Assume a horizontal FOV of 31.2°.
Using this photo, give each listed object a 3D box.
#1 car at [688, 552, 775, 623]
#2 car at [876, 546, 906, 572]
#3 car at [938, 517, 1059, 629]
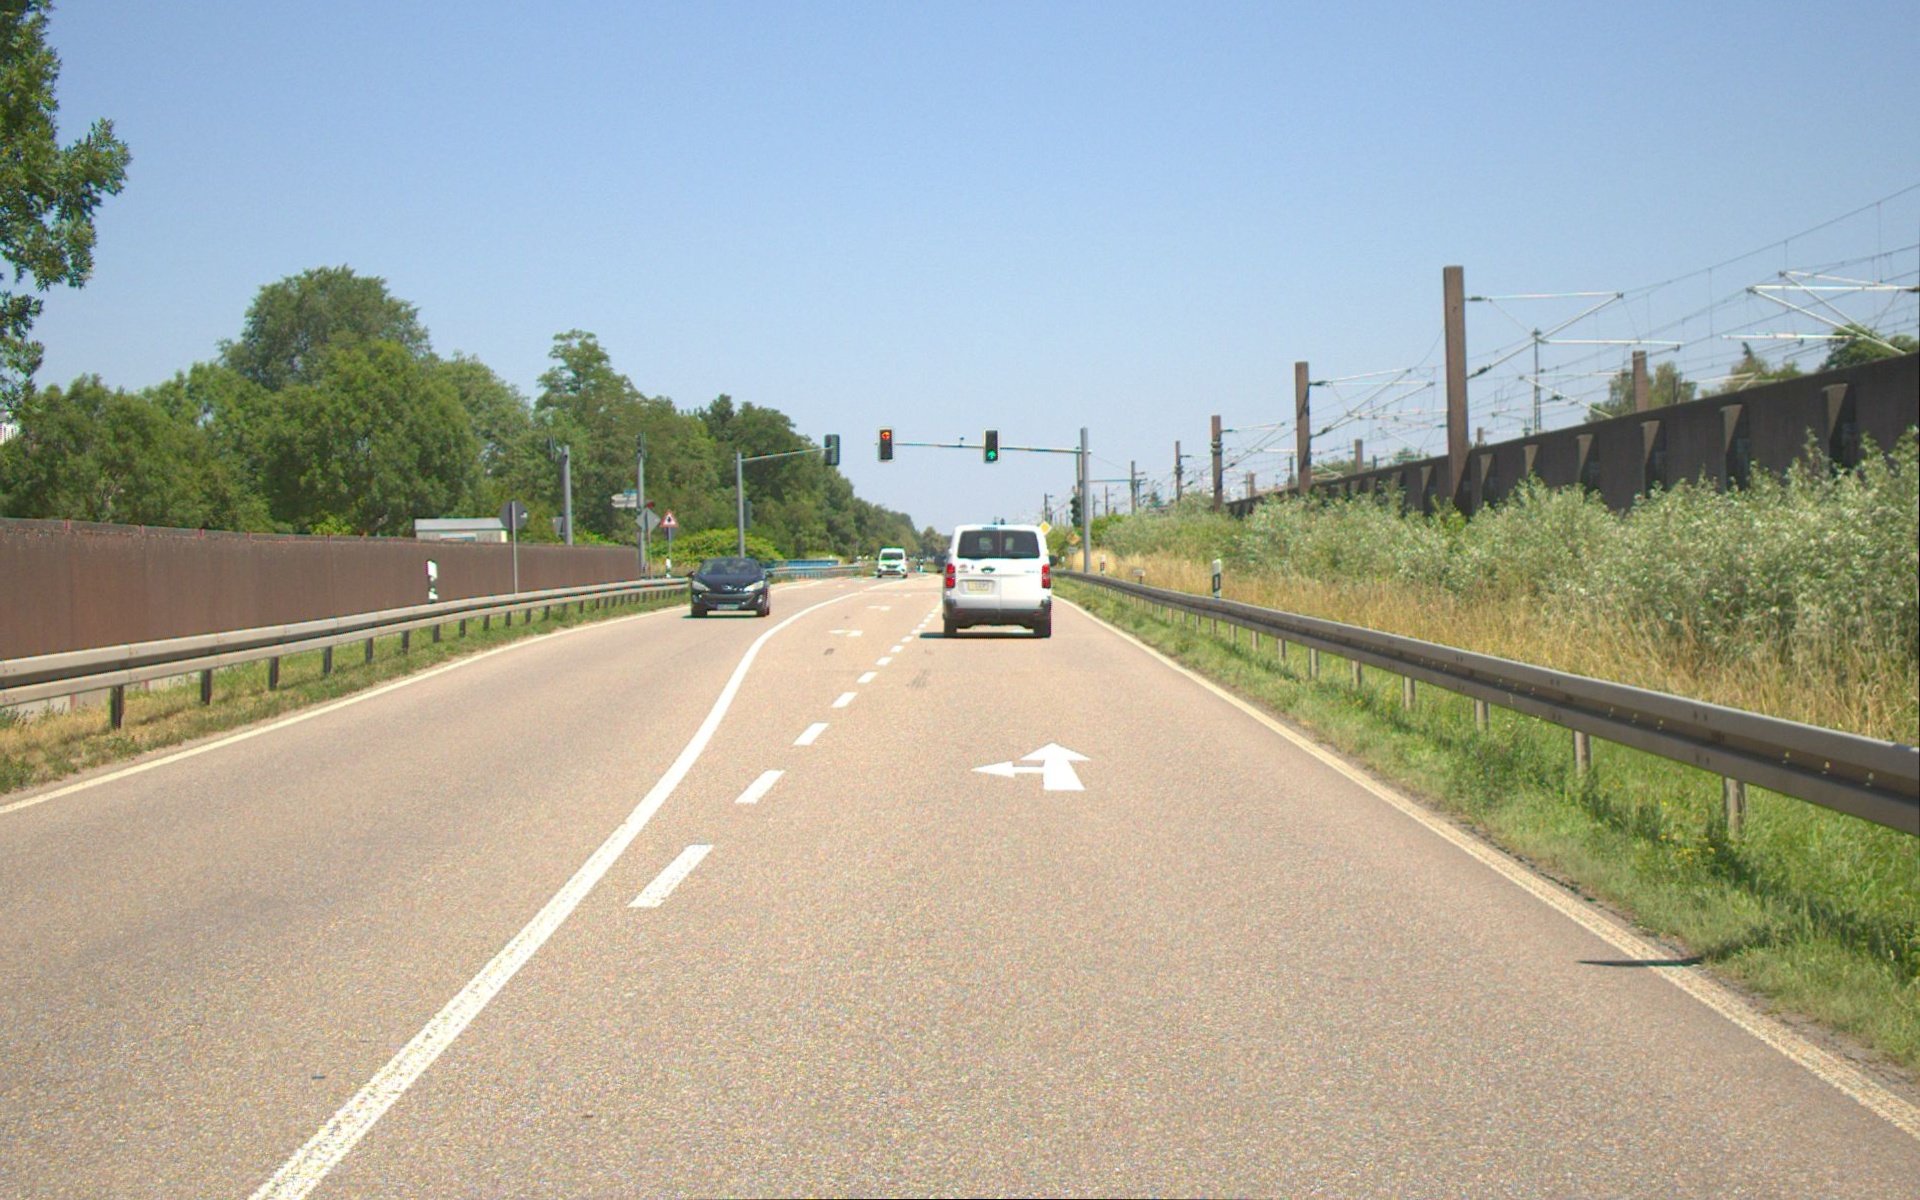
[{"bbox_3d":[-5.406,-0.312,81.668,1.819,1.590,4.000,1,1,-1],"label":"car"},{"bbox_3d":[-4.290,-2.568,214.388,1.819,1.590,4.000,1,1,-1],"label":"car"},{"bbox_3d":[0.658,-0.495,59.391,1.993,1.843,4.000,1,1,1],"label":"car"}]
